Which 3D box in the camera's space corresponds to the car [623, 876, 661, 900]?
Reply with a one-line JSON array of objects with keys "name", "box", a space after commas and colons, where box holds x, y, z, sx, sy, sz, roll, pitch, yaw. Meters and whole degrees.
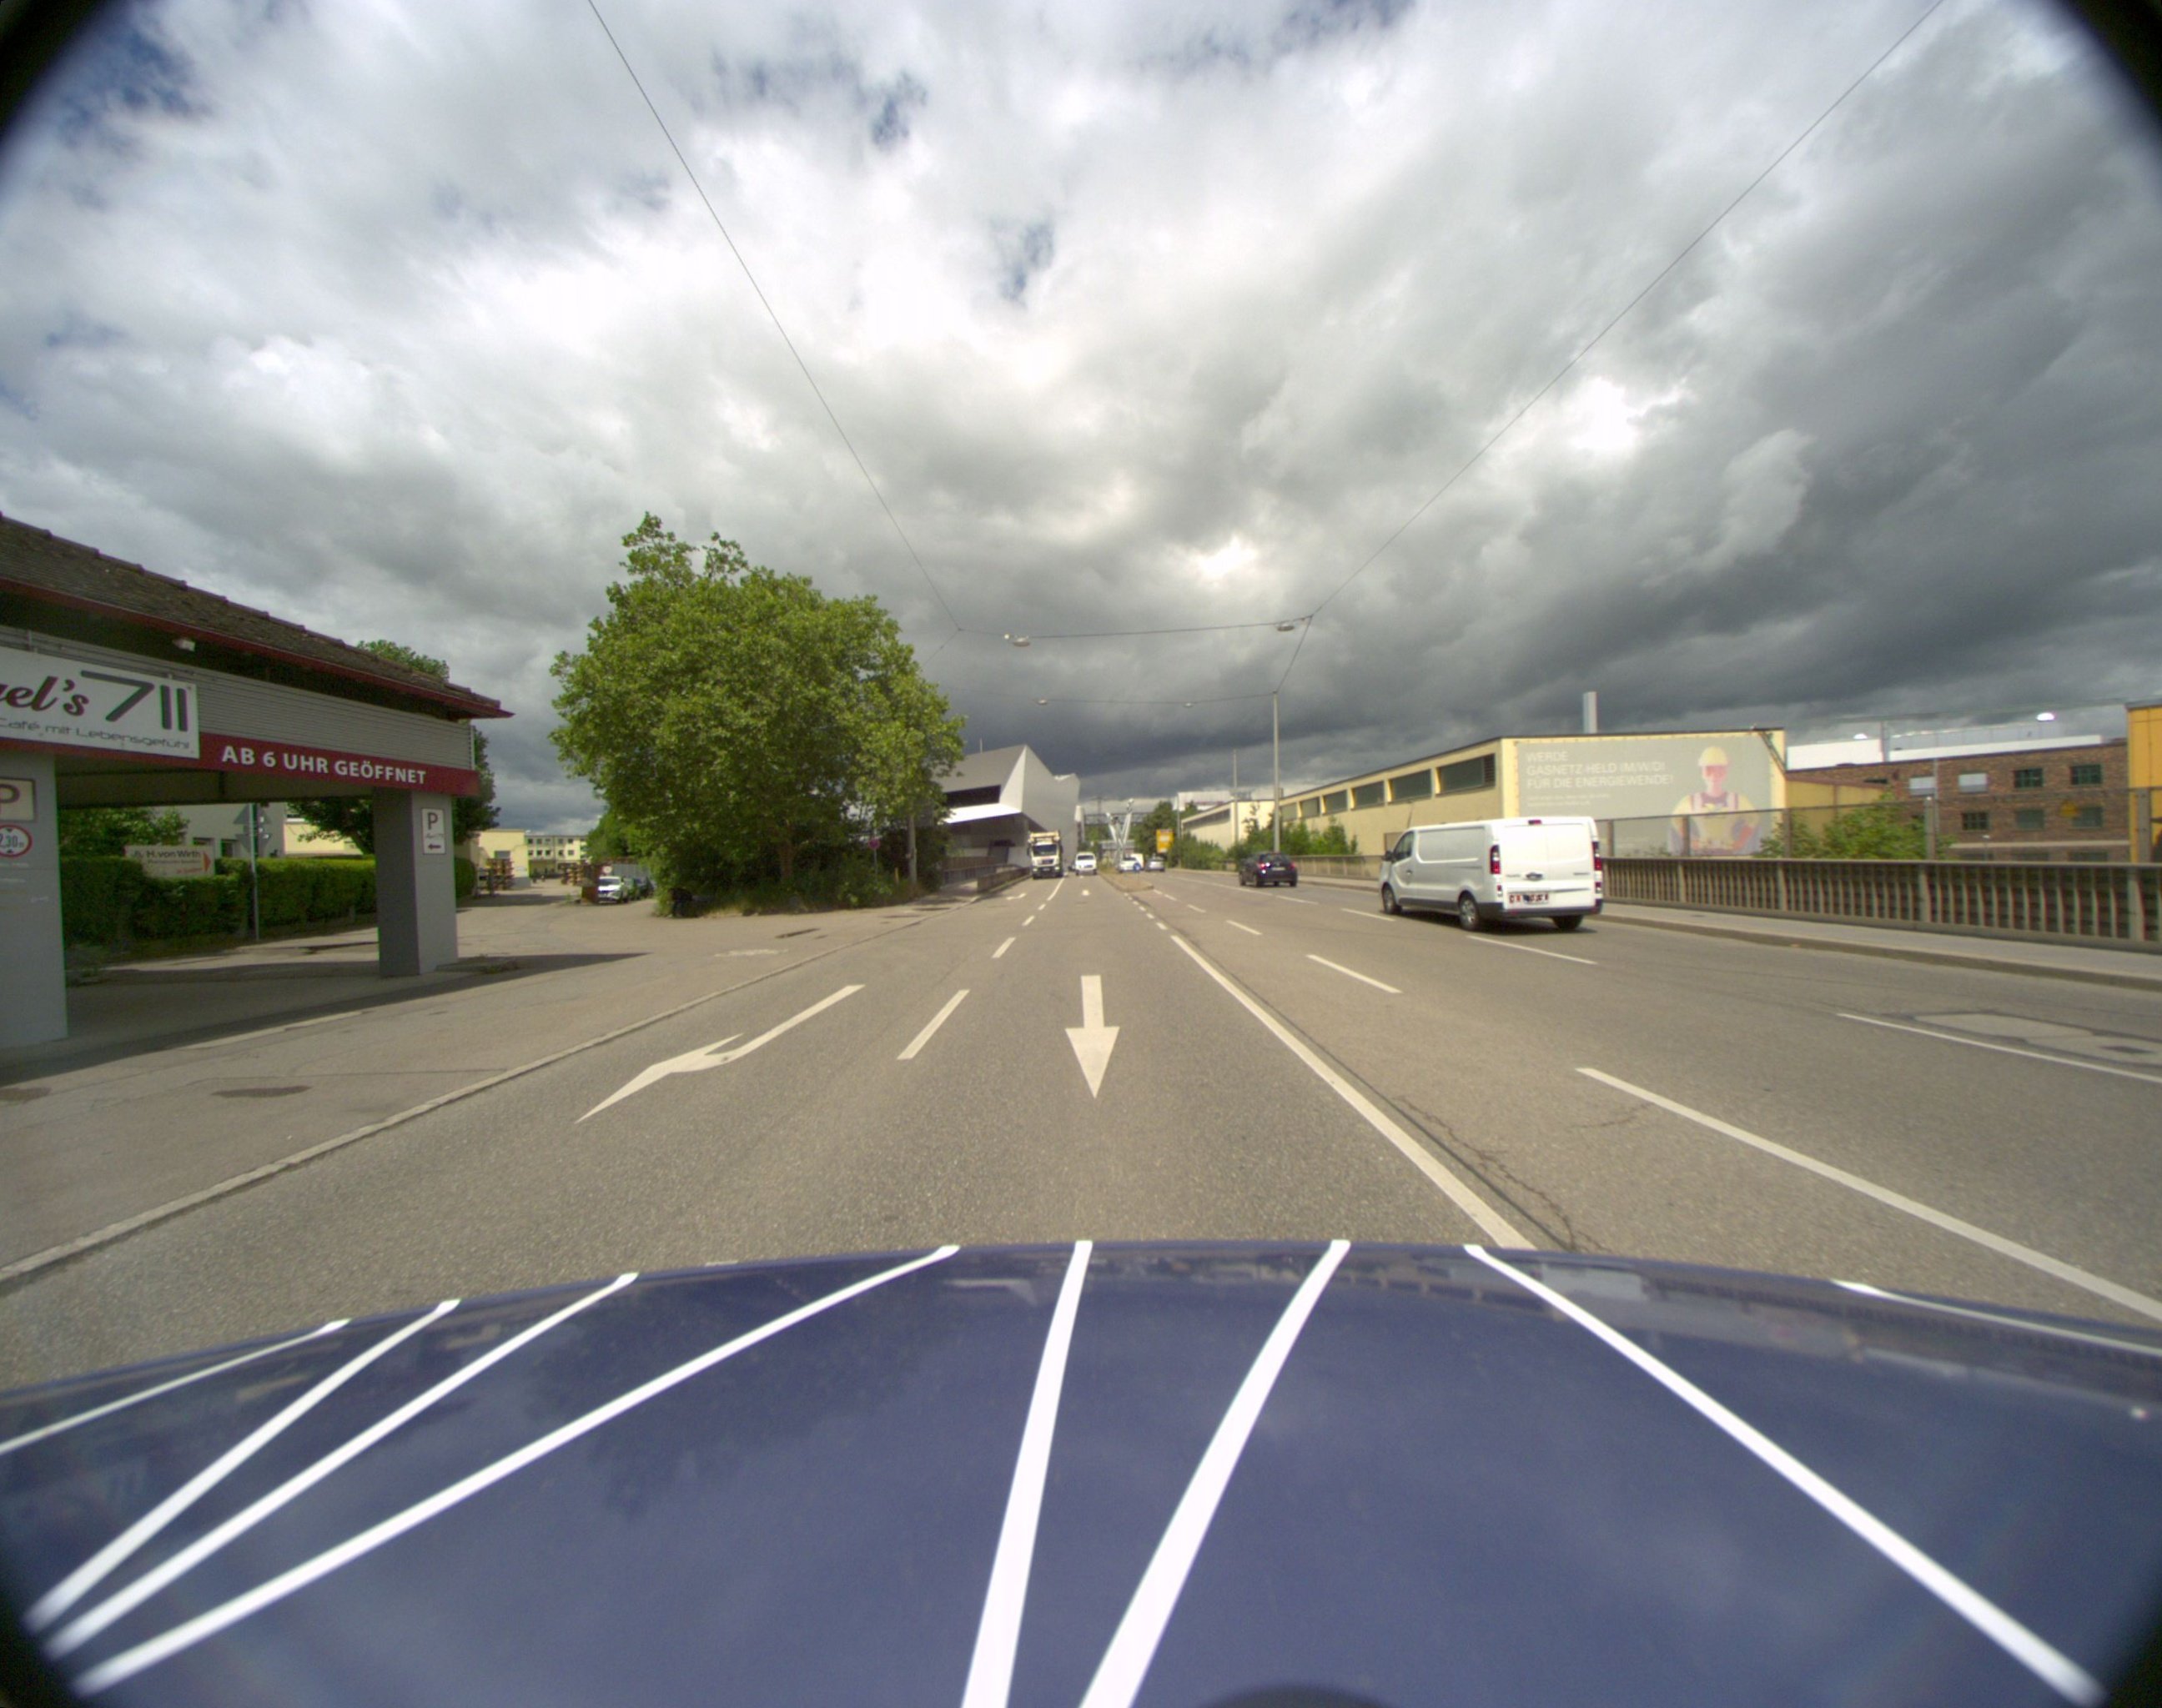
[{"name": "car", "box": [-32.951, 2.526, 57.117, 2.003, 1.499, 3.991, 2, 0, -23]}]

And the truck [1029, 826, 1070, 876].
[{"name": "truck", "box": [-2.602, -0.220, 65.571, 2.836, 3.889, 10.367, -1, 0, 1]}]

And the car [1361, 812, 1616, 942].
[{"name": "car", "box": [7.547, 0.341, 14.943, 1.896, 2.002, 5.649, -2, 1, -1]}]

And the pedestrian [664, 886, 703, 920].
[{"name": "pedestrian", "box": [-15.328, 1.882, 29.327, 0.884, 1.241, 0.967, -2, 1, 29]}]

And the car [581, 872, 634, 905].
[{"name": "car", "box": [-28.136, 2.029, 45.279, 2.003, 1.709, 4.104, 2, 0, -23]}]

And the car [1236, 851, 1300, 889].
[{"name": "car", "box": [7.732, 0.616, 31.747, 1.612, 1.404, 3.798, -2, 1, -1]}]

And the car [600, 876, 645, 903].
[{"name": "car", "box": [-30.729, 2.363, 51.050, 2.003, 1.499, 3.991, 2, 0, -23]}]

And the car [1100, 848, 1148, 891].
[{"name": "car", "box": [1.882, 0.636, 34.502, 1.870, 1.782, 4.207, -1, 1, 0]}]

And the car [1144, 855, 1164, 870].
[{"name": "car", "box": [7.447, 0.890, 77.986, 1.612, 1.404, 3.798, -2, 1, -1]}]

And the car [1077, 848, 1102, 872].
[{"name": "car", "box": [0.813, 0.530, 68.379, 1.935, 2.078, 4.208, -2, 0, 3]}]

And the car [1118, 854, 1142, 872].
[{"name": "car", "box": [4.607, 0.871, 71.816, 1.806, 1.543, 3.770, -2, 1, -1]}]

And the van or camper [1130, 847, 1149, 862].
[{"name": "van or camper", "box": [8.647, -0.002, 112.734, 2.164, 2.108, 5.470, -2, 0, -1]}]
